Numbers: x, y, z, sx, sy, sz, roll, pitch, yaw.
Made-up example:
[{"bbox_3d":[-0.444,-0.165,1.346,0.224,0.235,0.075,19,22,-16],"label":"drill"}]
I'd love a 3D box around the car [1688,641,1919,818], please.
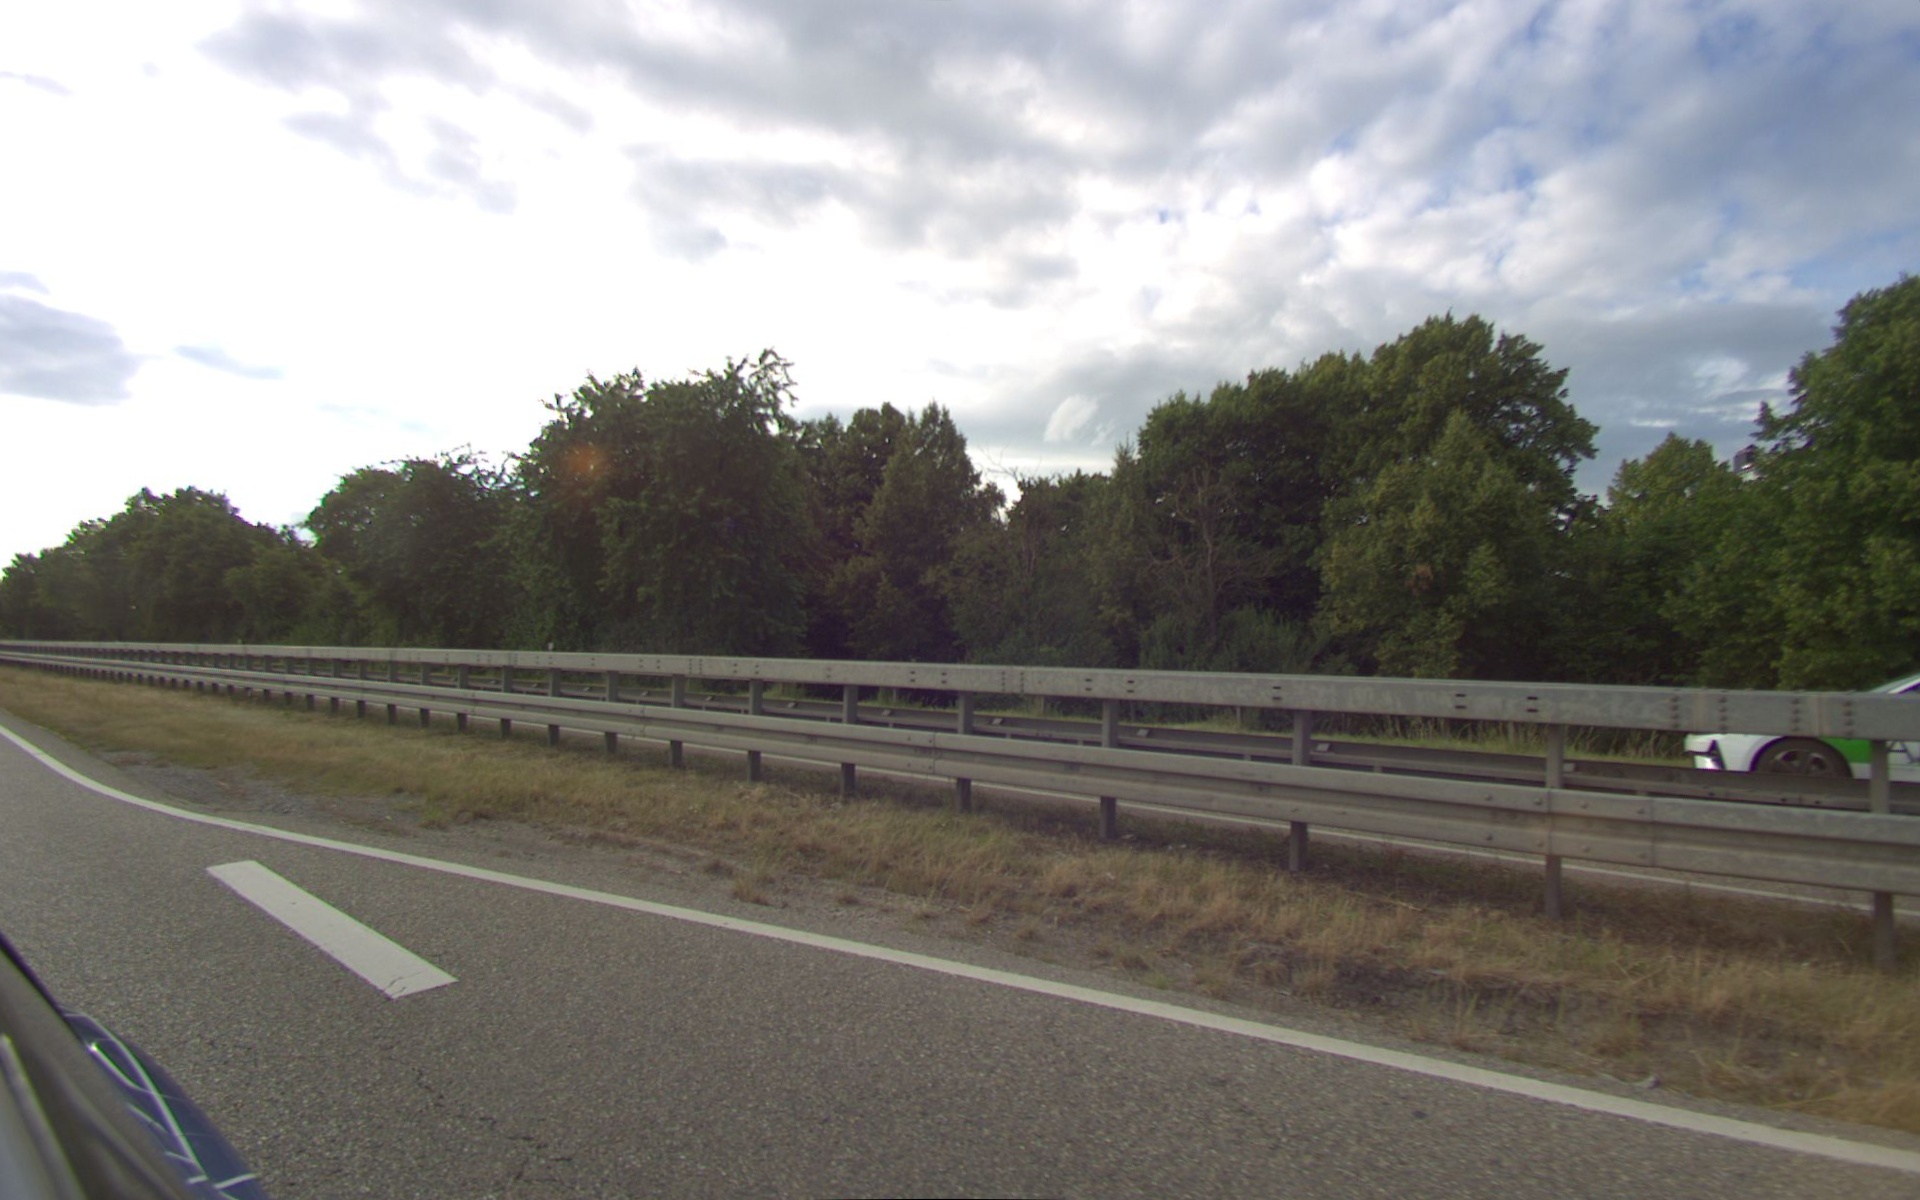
[{"bbox_3d":[8.916,1.059,8.432,4.457,1.424,1.740,-2,-3,41],"label":"car"}]
